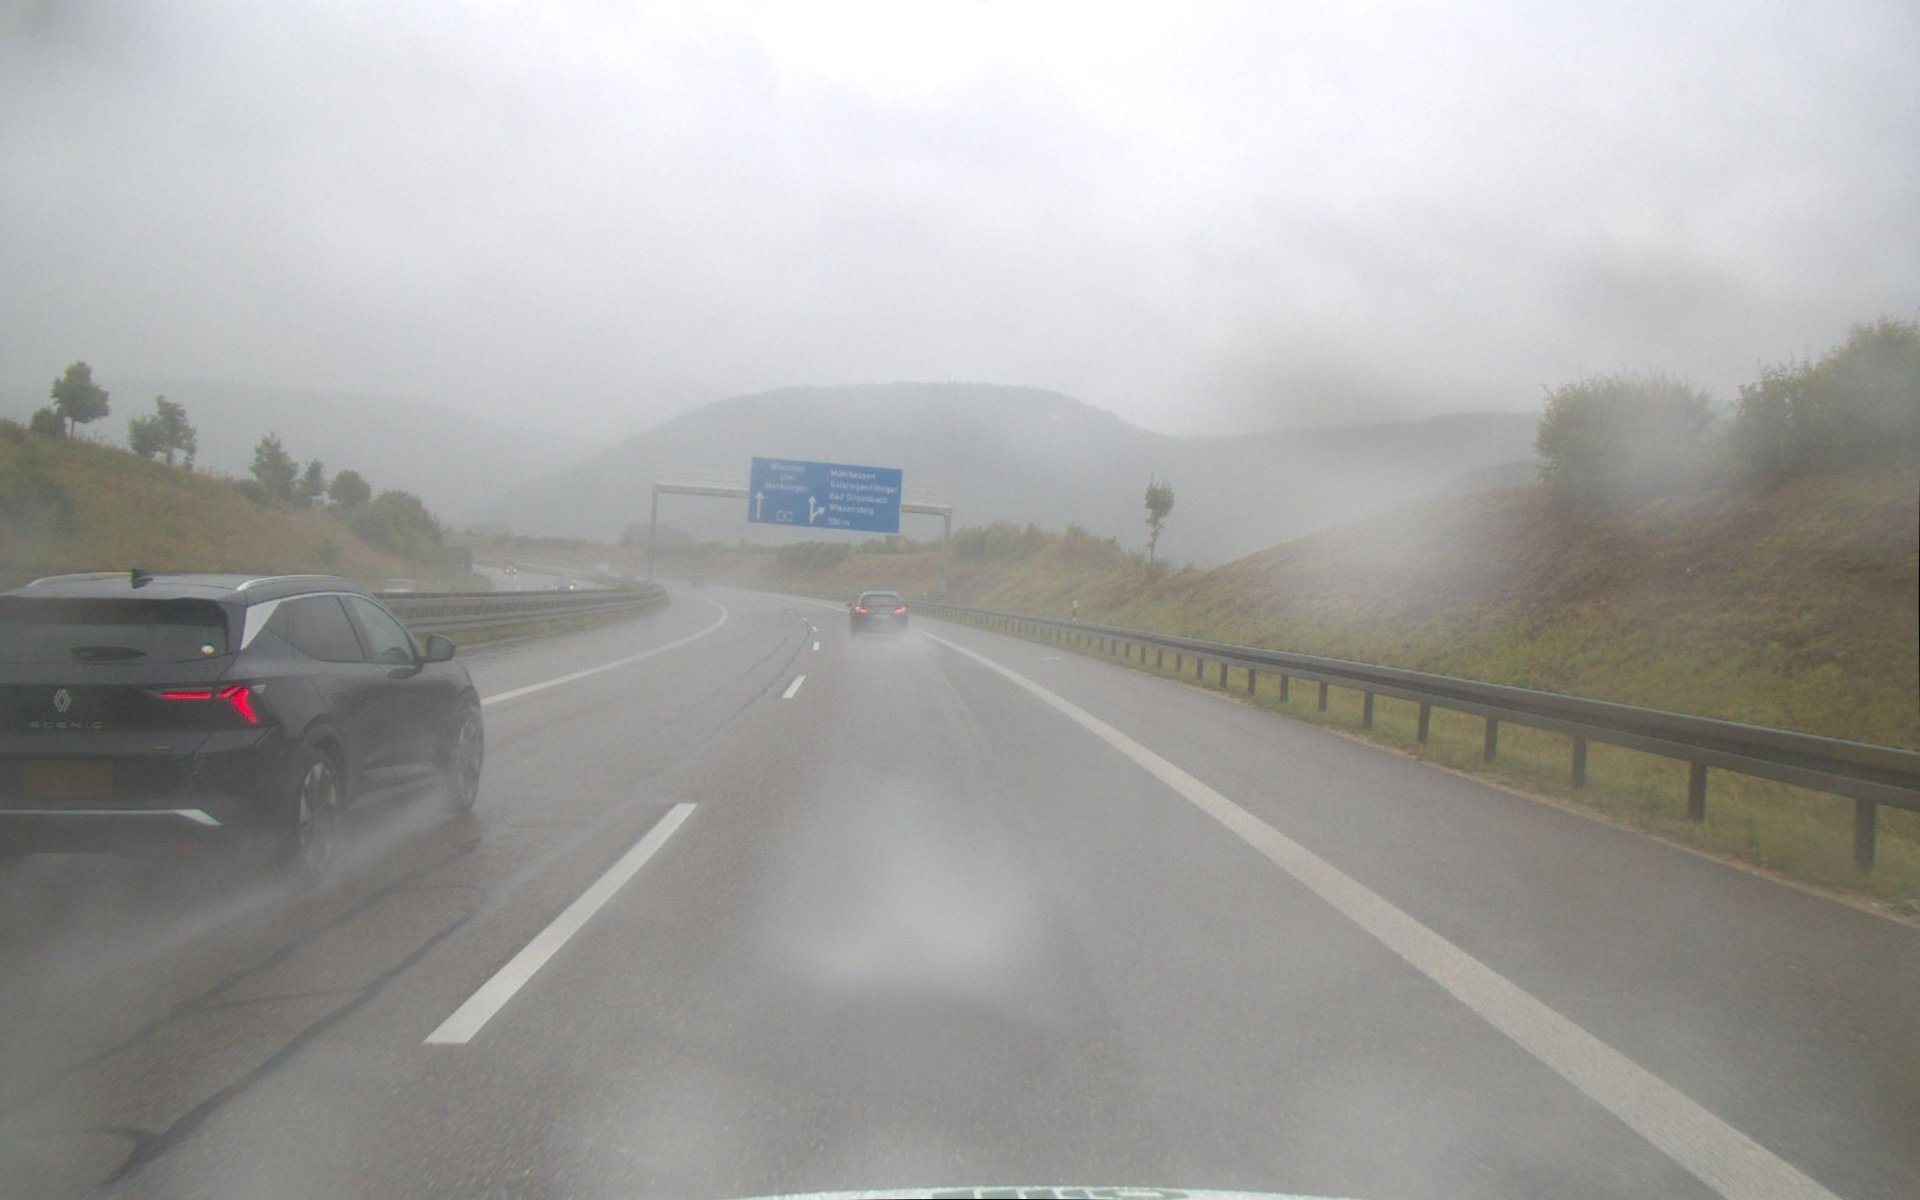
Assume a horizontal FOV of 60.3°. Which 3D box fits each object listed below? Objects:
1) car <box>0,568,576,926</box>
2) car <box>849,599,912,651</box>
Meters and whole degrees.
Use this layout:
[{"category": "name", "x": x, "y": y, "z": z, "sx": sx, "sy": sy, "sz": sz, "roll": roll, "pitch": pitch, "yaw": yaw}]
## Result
[{"category": "car", "x": -4.014, "y": 0.643, "z": 9.770, "sx": 2.357, "sy": 1.542, "sz": 4.783, "roll": 2, "pitch": 0, "yaw": -1}, {"category": "car", "x": -2.531, "y": 0.757, "z": 51.794, "sx": 1.647, "sy": 1.498, "sz": 3.809, "roll": 2, "pitch": 0, "yaw": -7}]
